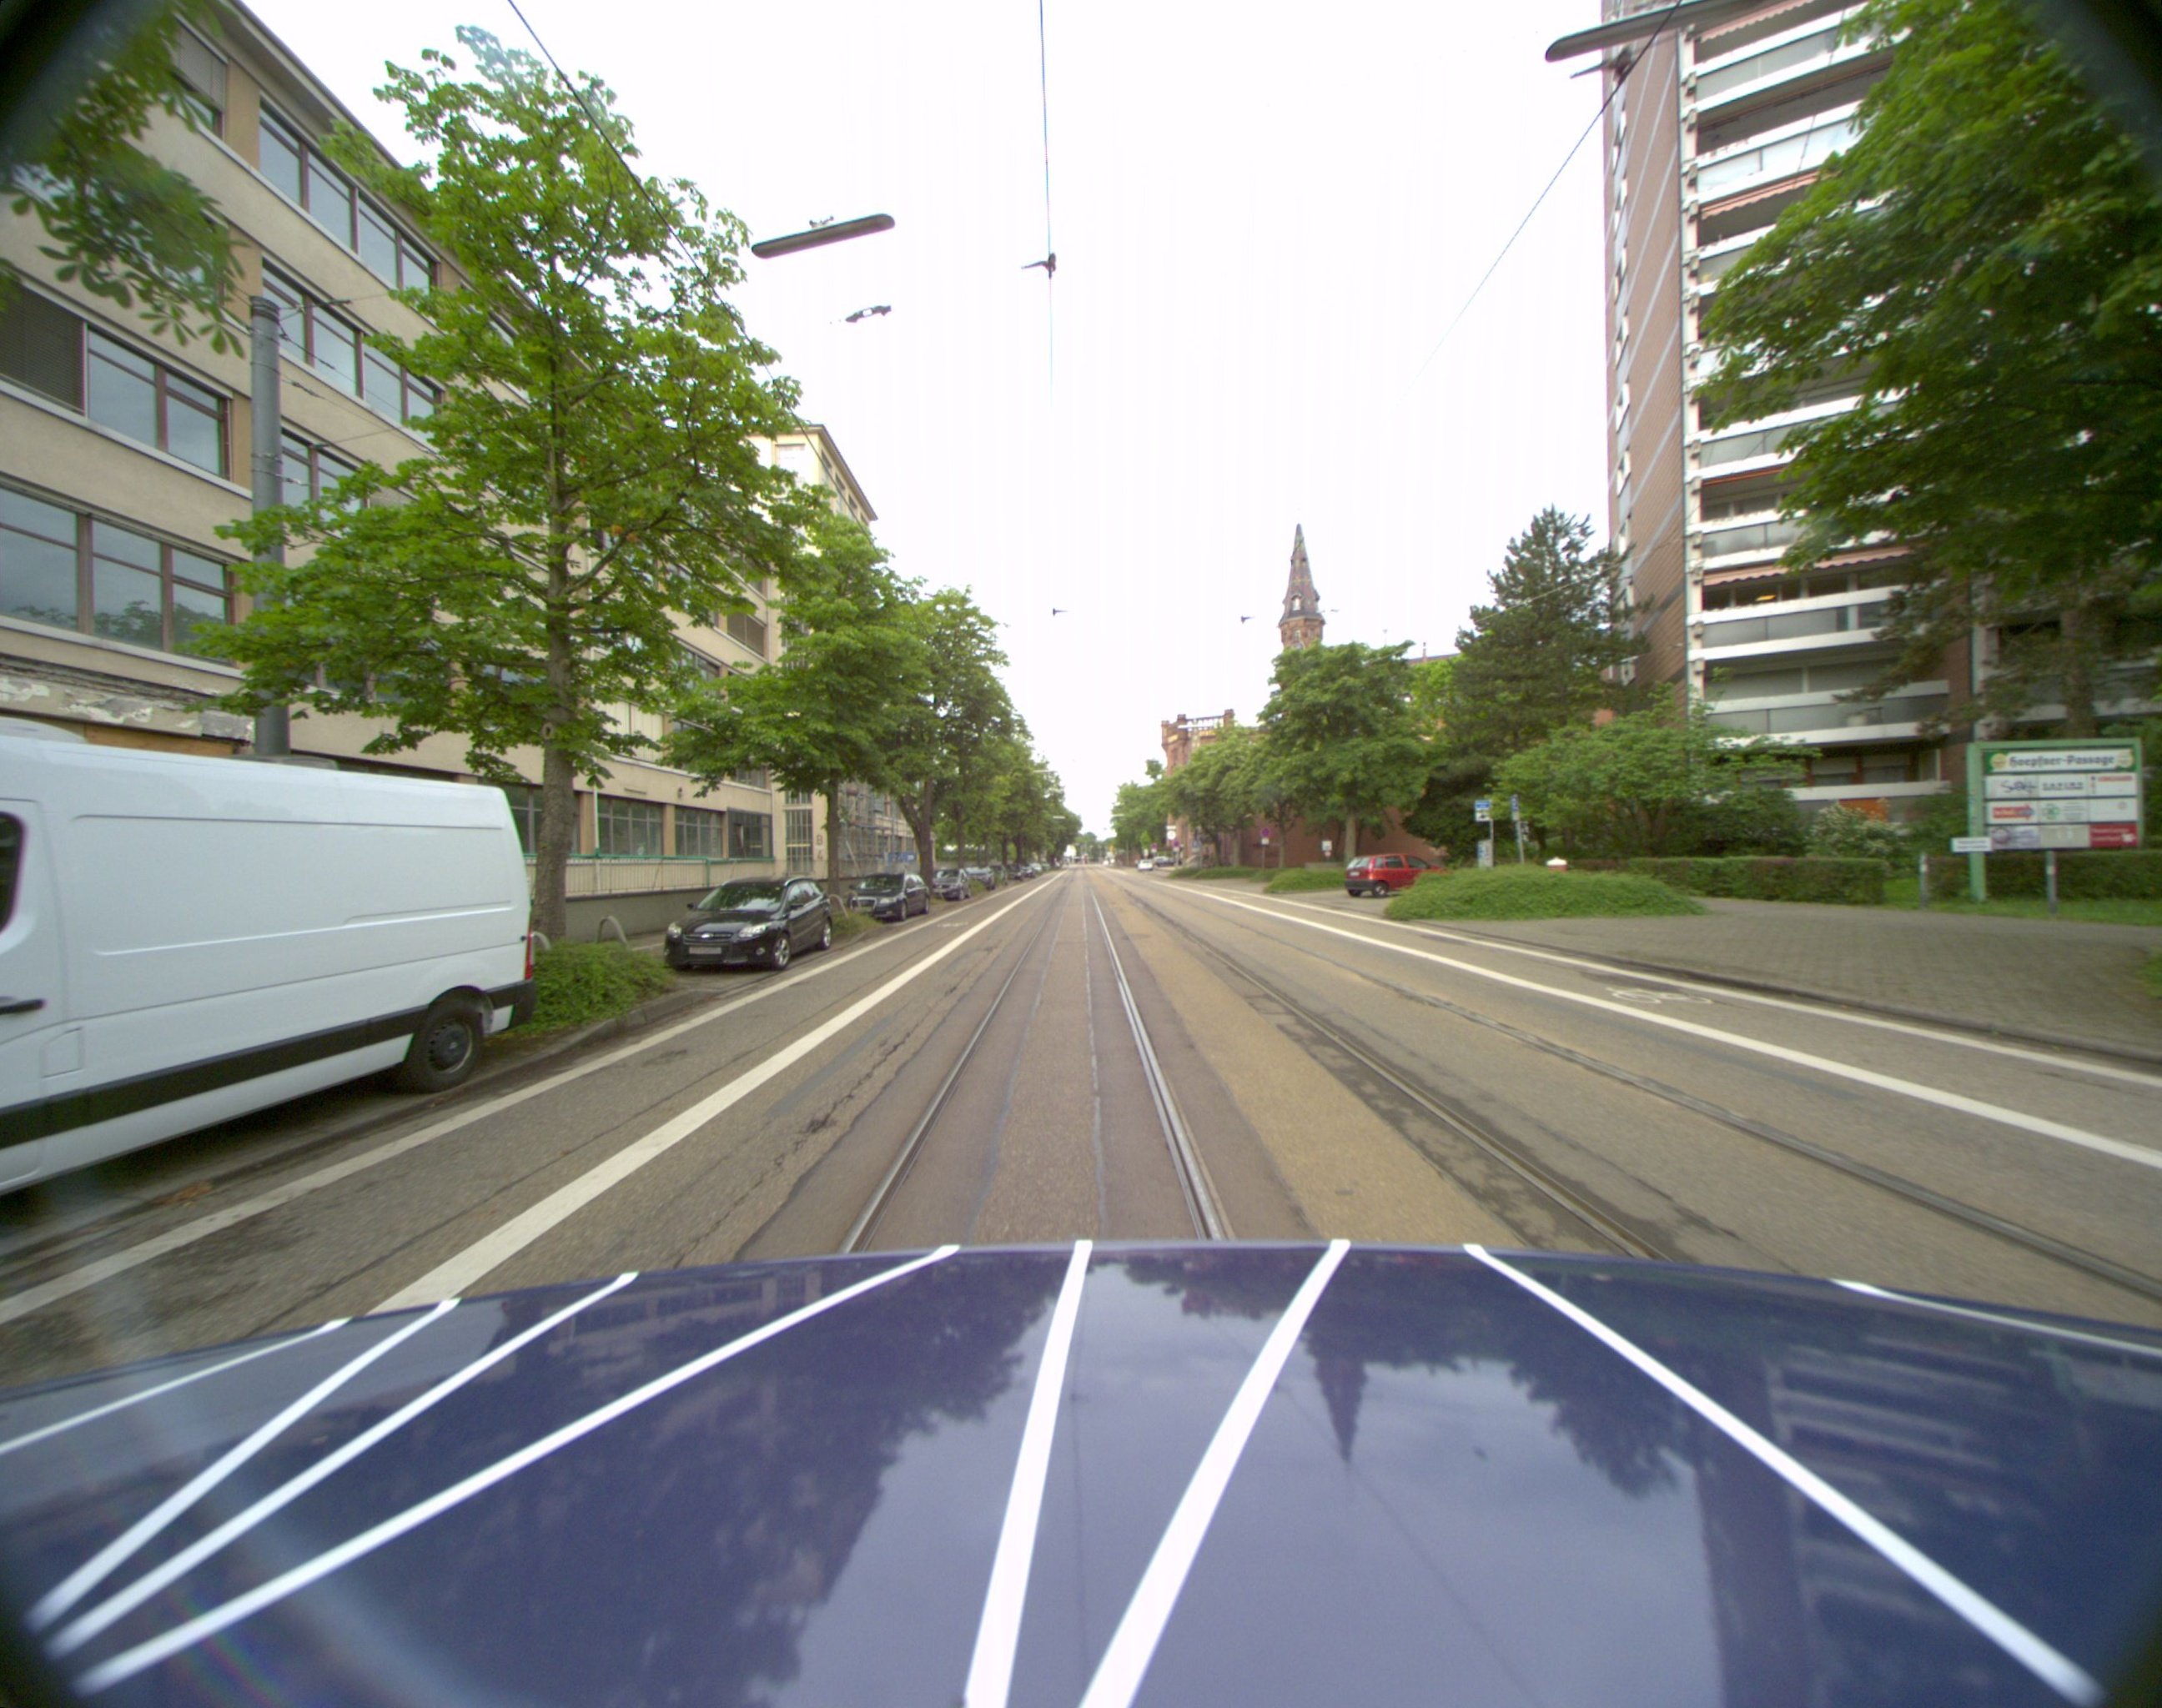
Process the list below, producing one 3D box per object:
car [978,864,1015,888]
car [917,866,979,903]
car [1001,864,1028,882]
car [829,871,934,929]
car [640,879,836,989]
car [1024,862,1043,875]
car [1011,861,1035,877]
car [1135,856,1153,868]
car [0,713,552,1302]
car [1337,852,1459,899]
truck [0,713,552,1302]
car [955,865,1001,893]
[{"bbox_3d":[-5.708,1.486,51.959,1.999,1.452,4.393,-2,0,0],"label":"car"},{"bbox_3d":[-5.951,1.329,34.534,1.999,1.452,4.393,-2,0,0],"label":"car"},{"bbox_3d":[-5.816,1.630,66.826,1.999,1.452,4.393,-2,0,0],"label":"car"},{"bbox_3d":[-5.904,1.305,23.069,1.999,1.452,4.393,-2,0,0],"label":"car"},{"bbox_3d":[-5.800,1.259,13.455,1.826,1.491,4.104,0,0,-3],"label":"car"},{"bbox_3d":[-5.750,1.691,92.377,1.999,1.452,4.393,-2,0,0],"label":"car"},{"bbox_3d":[-5.961,1.551,78.513,1.999,1.452,4.393,-2,0,0],"label":"car"},{"bbox_3d":[8.259,1.022,99.438,1.999,1.521,4.000,-2,0,0],"label":"car"},{"bbox_3d":[-5.848,0.709,4.117,2.118,2.587,5.491,-2,0,-1],"label":"car"},{"bbox_3d":[10.668,0.693,25.657,3.504,1.369,1.632,-2,1,-14],"label":"car"},{"bbox_3d":[-5.848,0.709,4.117,2.118,2.587,5.491,-2,0,-1],"label":"truck"},{"bbox_3d":[-5.878,1.394,43.928,1.999,1.452,4.393,-2,0,0],"label":"car"}]
